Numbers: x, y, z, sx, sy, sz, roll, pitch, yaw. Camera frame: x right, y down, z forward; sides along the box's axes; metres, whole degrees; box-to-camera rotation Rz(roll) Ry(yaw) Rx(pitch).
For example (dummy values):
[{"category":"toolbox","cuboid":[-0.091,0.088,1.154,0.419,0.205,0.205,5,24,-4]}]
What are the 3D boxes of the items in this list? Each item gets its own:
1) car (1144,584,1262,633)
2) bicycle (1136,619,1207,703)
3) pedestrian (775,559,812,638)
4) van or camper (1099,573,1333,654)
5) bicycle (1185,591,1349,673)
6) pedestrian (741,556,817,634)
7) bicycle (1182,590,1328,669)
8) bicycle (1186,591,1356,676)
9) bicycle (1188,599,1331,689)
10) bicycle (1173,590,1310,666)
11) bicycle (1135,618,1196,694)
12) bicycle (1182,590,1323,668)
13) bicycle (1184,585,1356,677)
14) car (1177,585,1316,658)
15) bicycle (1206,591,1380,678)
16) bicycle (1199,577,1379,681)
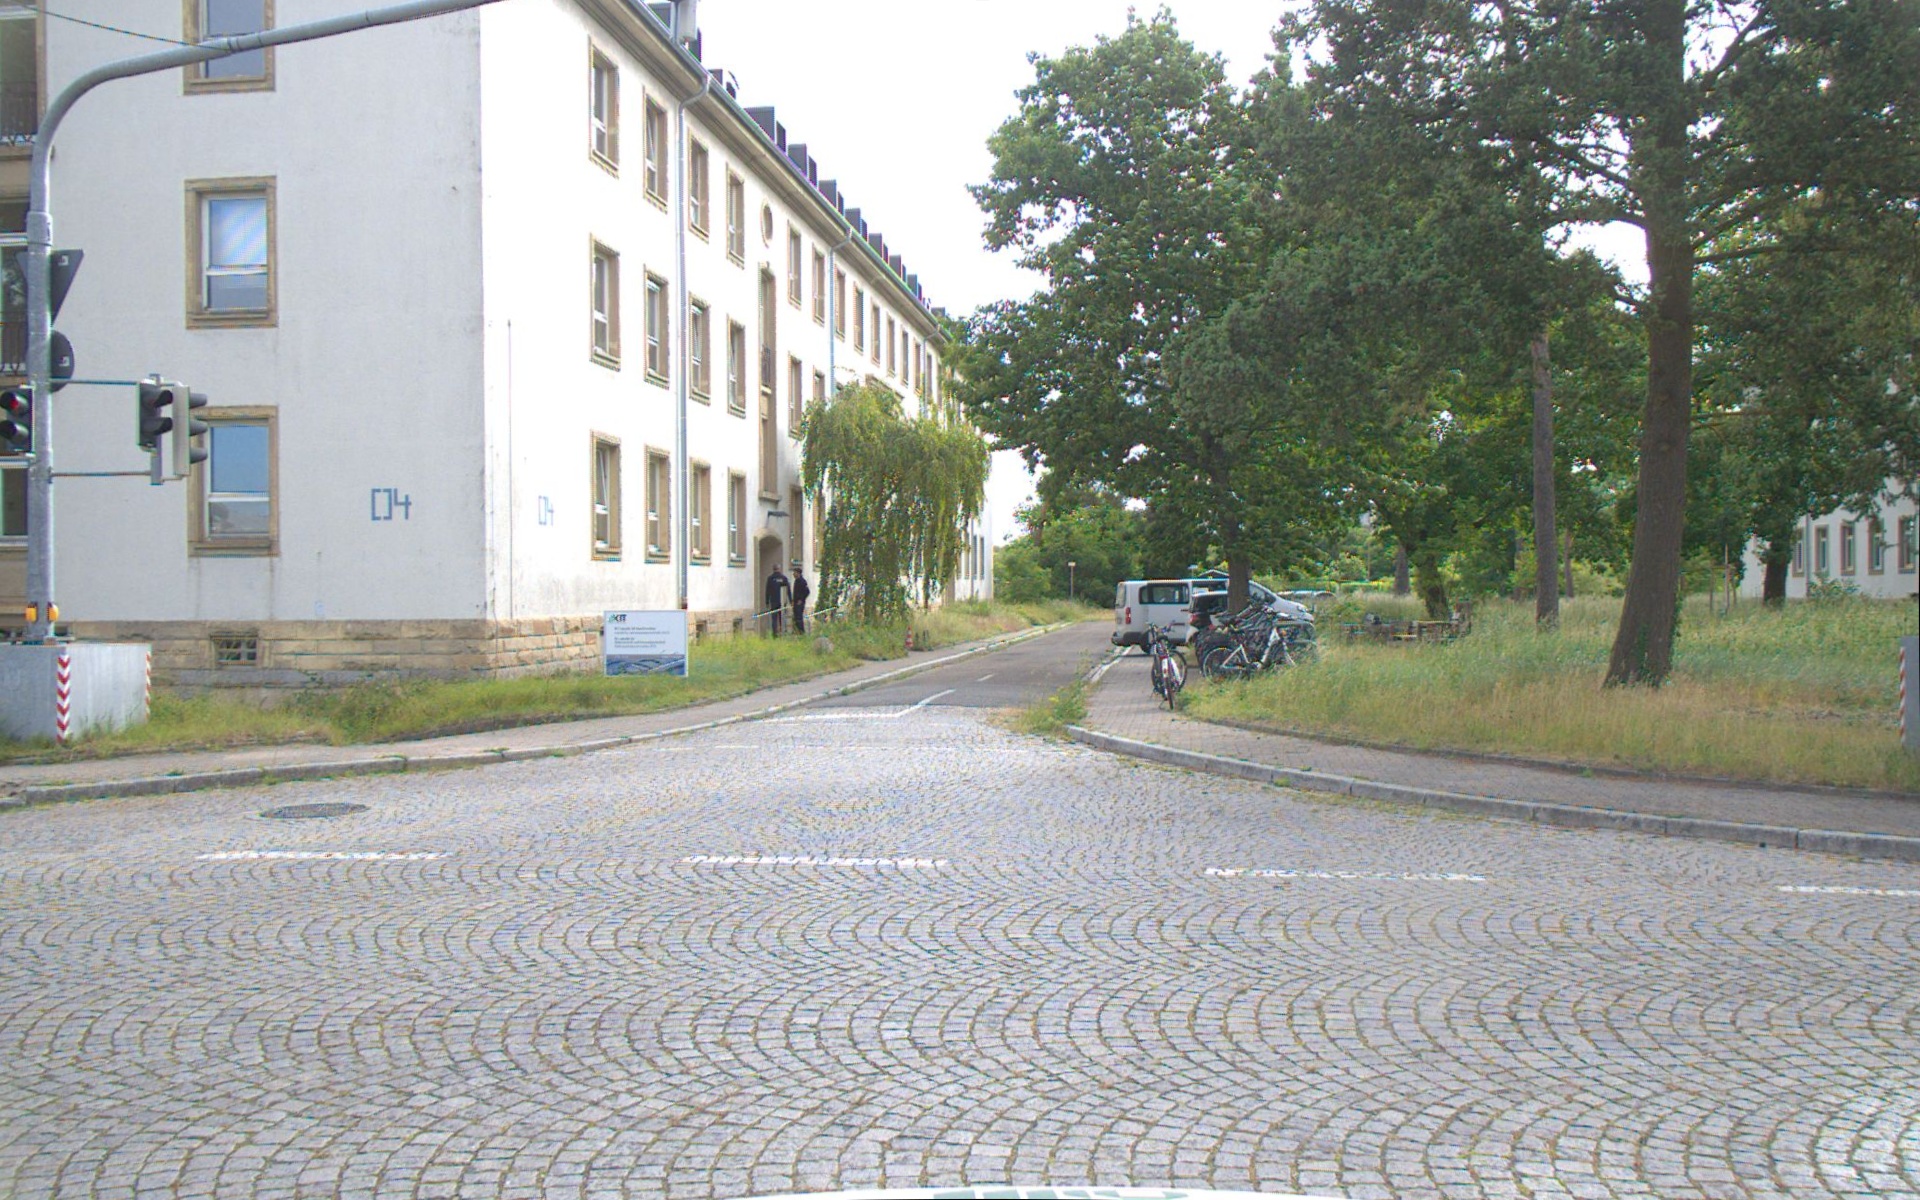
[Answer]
[{"category":"car","cuboid":[8.281,0.290,56.691,3.902,1.628,1.705,0,0,5]},{"category":"bicycle","cuboid":[2.780,0.779,21.760,0.881,1.014,1.980,0,0,7]},{"category":"pedestrian","cuboid":[-4.224,-0.029,42.067,0.848,1.966,0.836,2,0,-4]},{"category":"van or camper","cuboid":[6.582,0.329,42.910,5.629,1.991,2.235,0,0,-5]},{"category":"bicycle","cuboid":[5.290,0.554,28.710,2.743,1.396,0.951,0,0,7]},{"category":"pedestrian","cuboid":[-4.489,-0.118,41.063,1.529,1.902,1.186,1,0,-30]},{"category":"bicycle","cuboid":[5.273,0.525,29.685,2.513,1.396,0.951,0,0,6]},{"category":"bicycle","cuboid":[5.202,0.552,27.819,2.743,1.396,0.951,0,0,7]},{"category":"bicycle","cuboid":[4.490,0.652,24.940,2.068,1.329,0.875,0,0,7]},{"category":"bicycle","cuboid":[5.319,0.525,31.373,2.513,1.396,0.951,0,0,6]},{"category":"bicycle","cuboid":[2.979,0.784,23.846,0.712,1.014,1.980,0,0,12]},{"category":"bicycle","cuboid":[5.369,0.526,30.520,2.513,1.396,0.951,0,0,6]},{"category":"bicycle","cuboid":[4.753,0.477,25.522,2.563,1.391,0.875,0,0,7]},{"category":"car","cuboid":[6.830,0.509,39.675,3.156,1.649,1.939,1,0,7]},{"category":"bicycle","cuboid":[5.449,0.556,27.246,2.743,1.396,0.951,0,0,7]},{"category":"bicycle","cuboid":[5.203,0.456,26.340,2.743,1.611,0.951,0,0,7]}]
